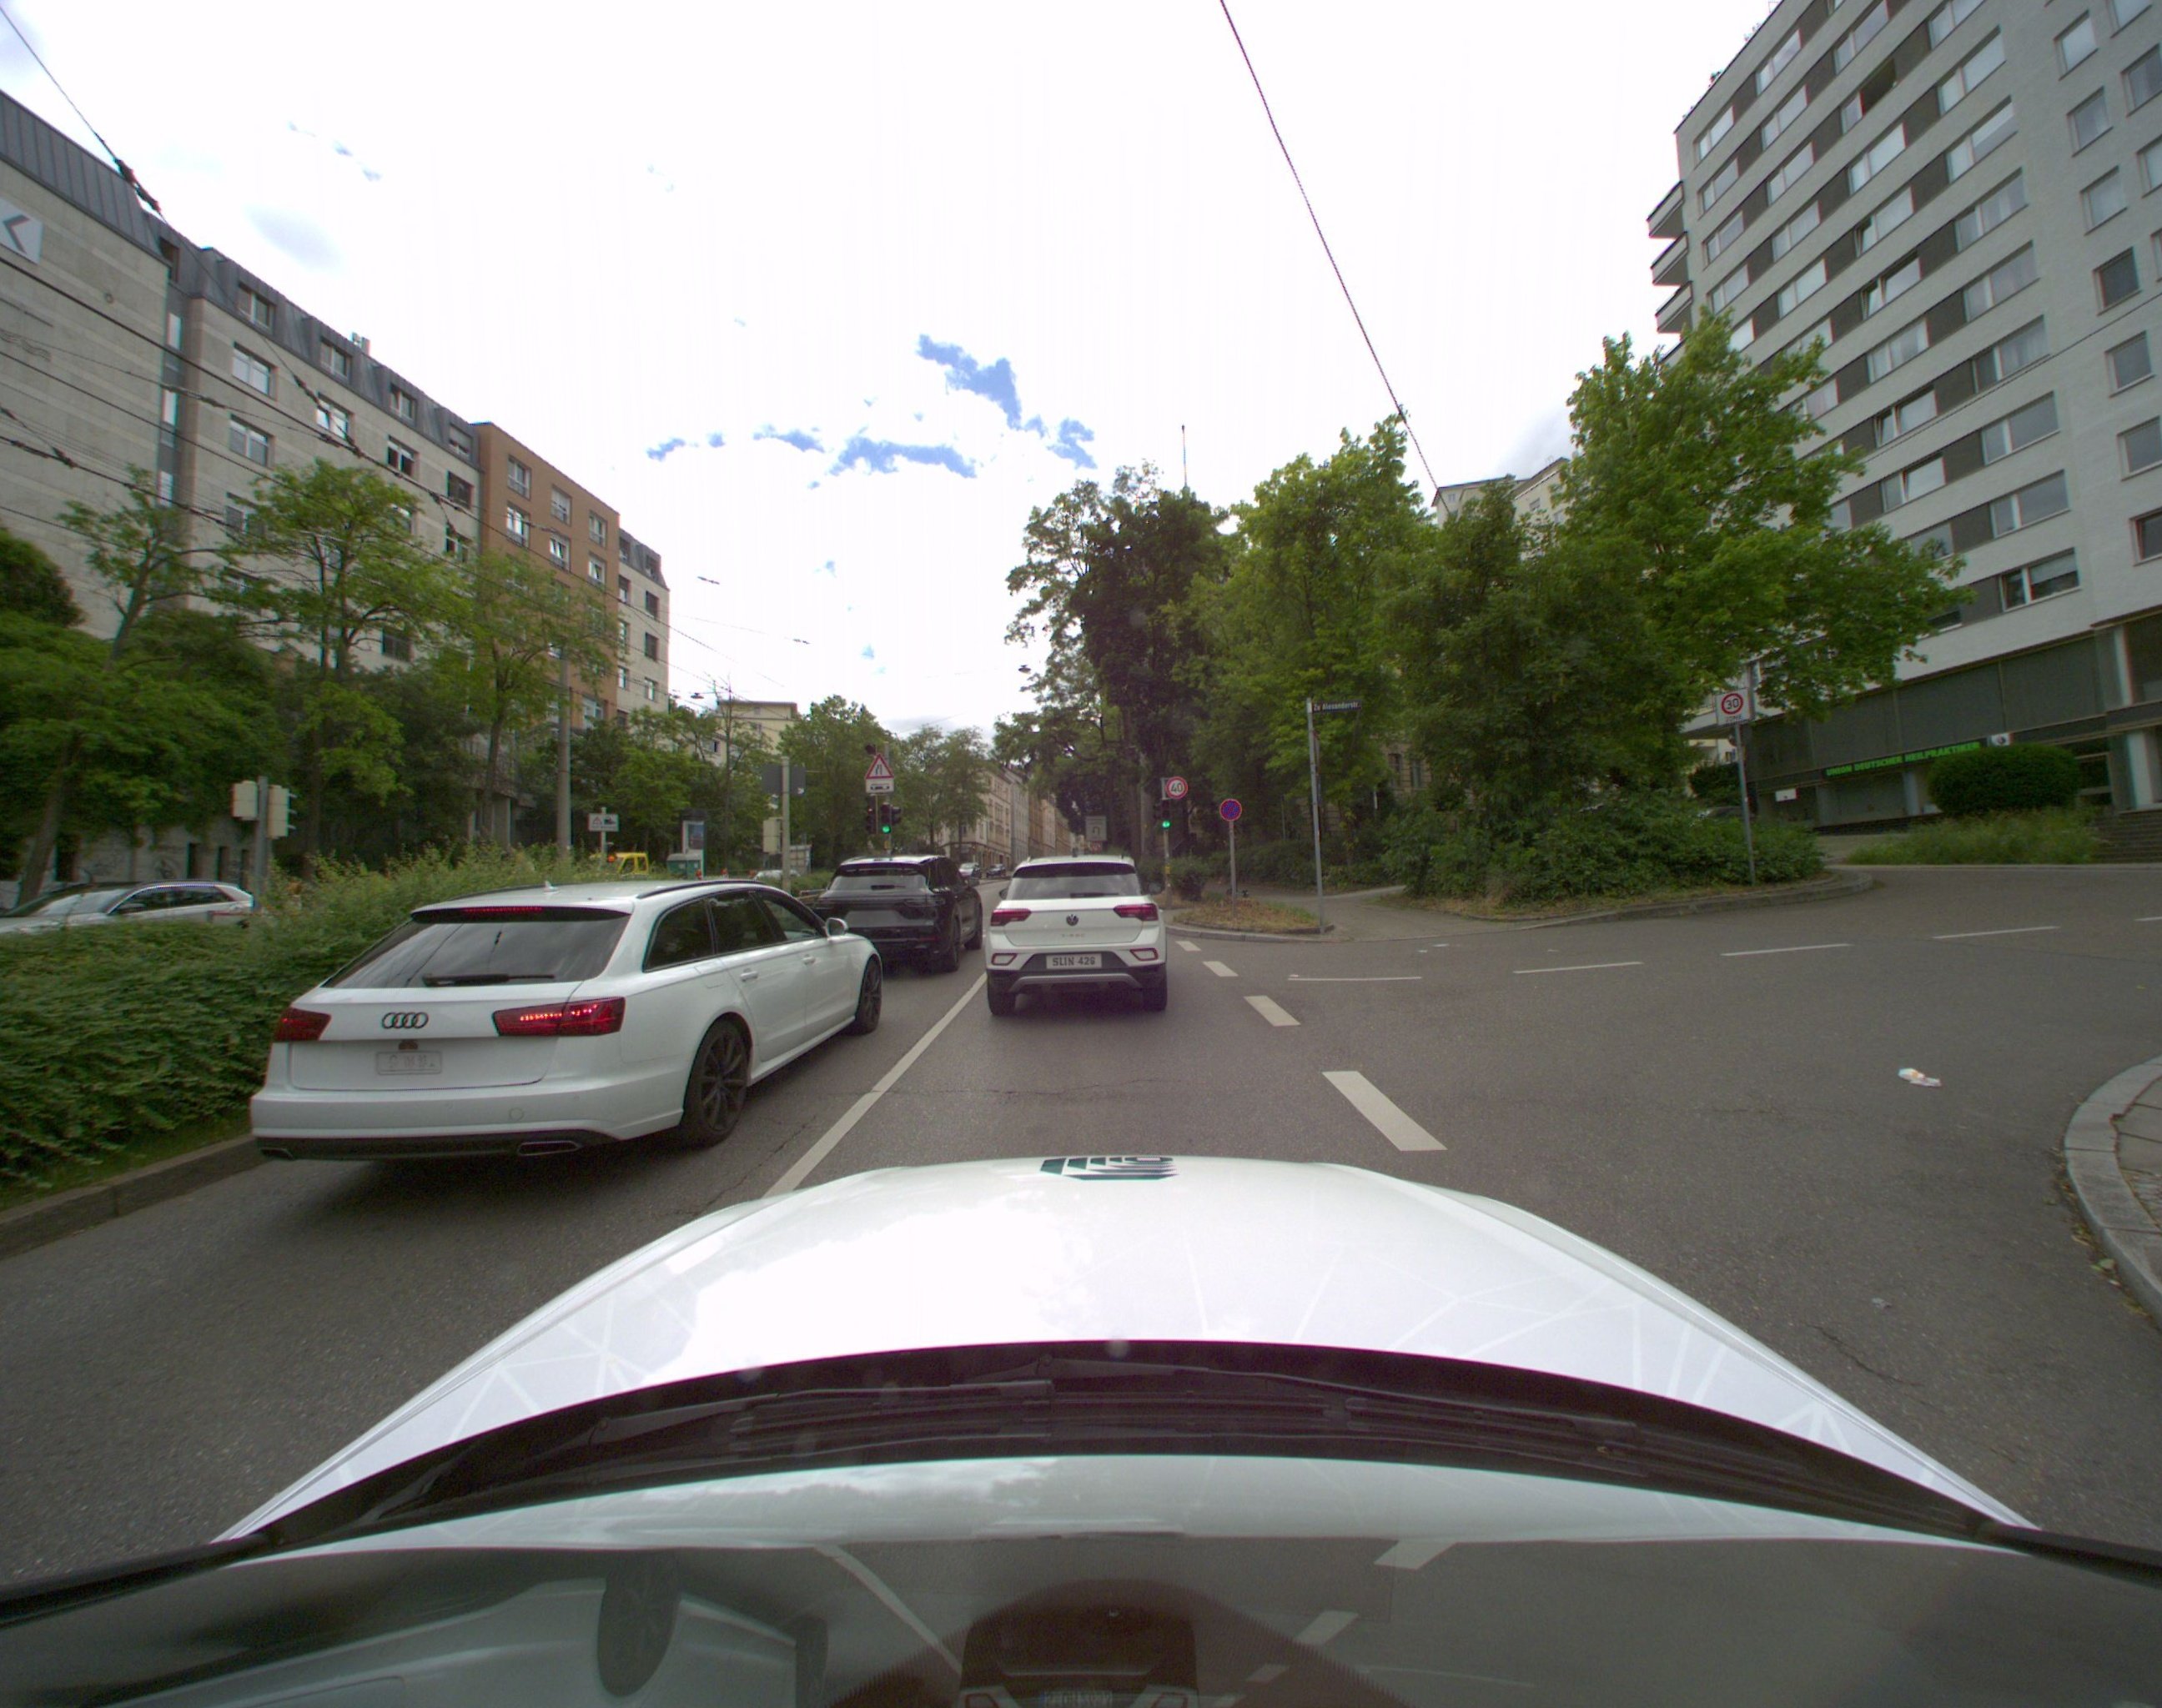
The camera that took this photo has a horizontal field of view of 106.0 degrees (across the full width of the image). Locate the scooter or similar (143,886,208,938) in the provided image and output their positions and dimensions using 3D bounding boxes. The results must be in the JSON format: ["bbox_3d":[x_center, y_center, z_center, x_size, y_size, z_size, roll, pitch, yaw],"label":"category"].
[{"bbox_3d":[-24.660,1.560,22.197,0.427,1.289,1.288,-2,0,-9],"label":"scooter or similar"}]

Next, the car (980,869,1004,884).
[{"bbox_3d":[-9.663,2.440,88.500,1.758,1.408,4.087,-2,0,4],"label":"car"}]

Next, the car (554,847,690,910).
[{"bbox_3d":[-20.762,1.039,37.289,2.146,2.593,6.344,-2,0,5],"label":"car"}]

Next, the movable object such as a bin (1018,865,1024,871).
[{"bbox_3d":[-9.793,2.311,133.397,0.821,1.074,0.678,-2,-1,7],"label":"movable object such as a bin"}]

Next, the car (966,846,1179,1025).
[{"bbox_3d":[-0.033,0.751,9.334,1.872,1.554,4.001,-2,-1,1],"label":"car"}]

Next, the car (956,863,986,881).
[{"bbox_3d":[-10.311,1.661,76.549,1.986,1.618,4.002,-3,-1,2],"label":"car"}]

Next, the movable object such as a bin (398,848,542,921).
[{"bbox_3d":[-22.077,1.030,29.644,1.924,2.467,4.103,0,0,5],"label":"movable object such as a bin"}]

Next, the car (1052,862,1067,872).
[{"bbox_3d":[-3.568,2.102,133.664,1.984,1.552,4.005,-3,-1,5],"label":"car"}]

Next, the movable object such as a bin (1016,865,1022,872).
[{"bbox_3d":[-10.035,2.296,131.441,0.724,1.074,0.672,-2,-1,7],"label":"movable object such as a bin"}]

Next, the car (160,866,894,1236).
[{"bbox_3d":[-2.848,0.855,5.709,1.872,1.455,4.618,-2,-1,1],"label":"car"}]

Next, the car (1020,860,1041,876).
[{"bbox_3d":[-6.793,1.896,109.904,1.937,1.946,5.011,-2,0,6],"label":"car"}]

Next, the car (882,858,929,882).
[{"bbox_3d":[-12.950,1.130,60.404,1.983,1.605,4.618,-2,0,6],"label":"car"}]

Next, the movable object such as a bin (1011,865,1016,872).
[{"bbox_3d":[-10.515,2.264,127.221,0.683,1.074,0.678,-2,-1,7],"label":"movable object such as a bin"}]

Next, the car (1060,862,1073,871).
[{"bbox_3d":[-2.563,2.182,144.552,1.984,1.552,4.005,-3,-1,5],"label":"car"}]

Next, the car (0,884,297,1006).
[{"bbox_3d":[-15.683,1.379,13.373,1.698,1.567,3.999,-2,0,0],"label":"car"}]

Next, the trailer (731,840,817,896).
[{"bbox_3d":[-17.129,0.749,45.868,2.007,2.973,5.603,-1,-1,9],"label":"trailer"}]

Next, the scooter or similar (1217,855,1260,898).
[{"bbox_3d":[4.714,0.672,24.507,0.631,1.210,1.550,-2,-1,-14],"label":"scooter or similar"}]

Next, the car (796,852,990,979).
[{"bbox_3d":[-2.660,0.812,12.673,2.032,1.571,4.356,-2,-1,-1],"label":"car"}]

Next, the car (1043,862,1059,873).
[{"bbox_3d":[-4.634,2.043,125.396,1.984,1.552,4.005,-3,-1,5],"label":"car"}]
